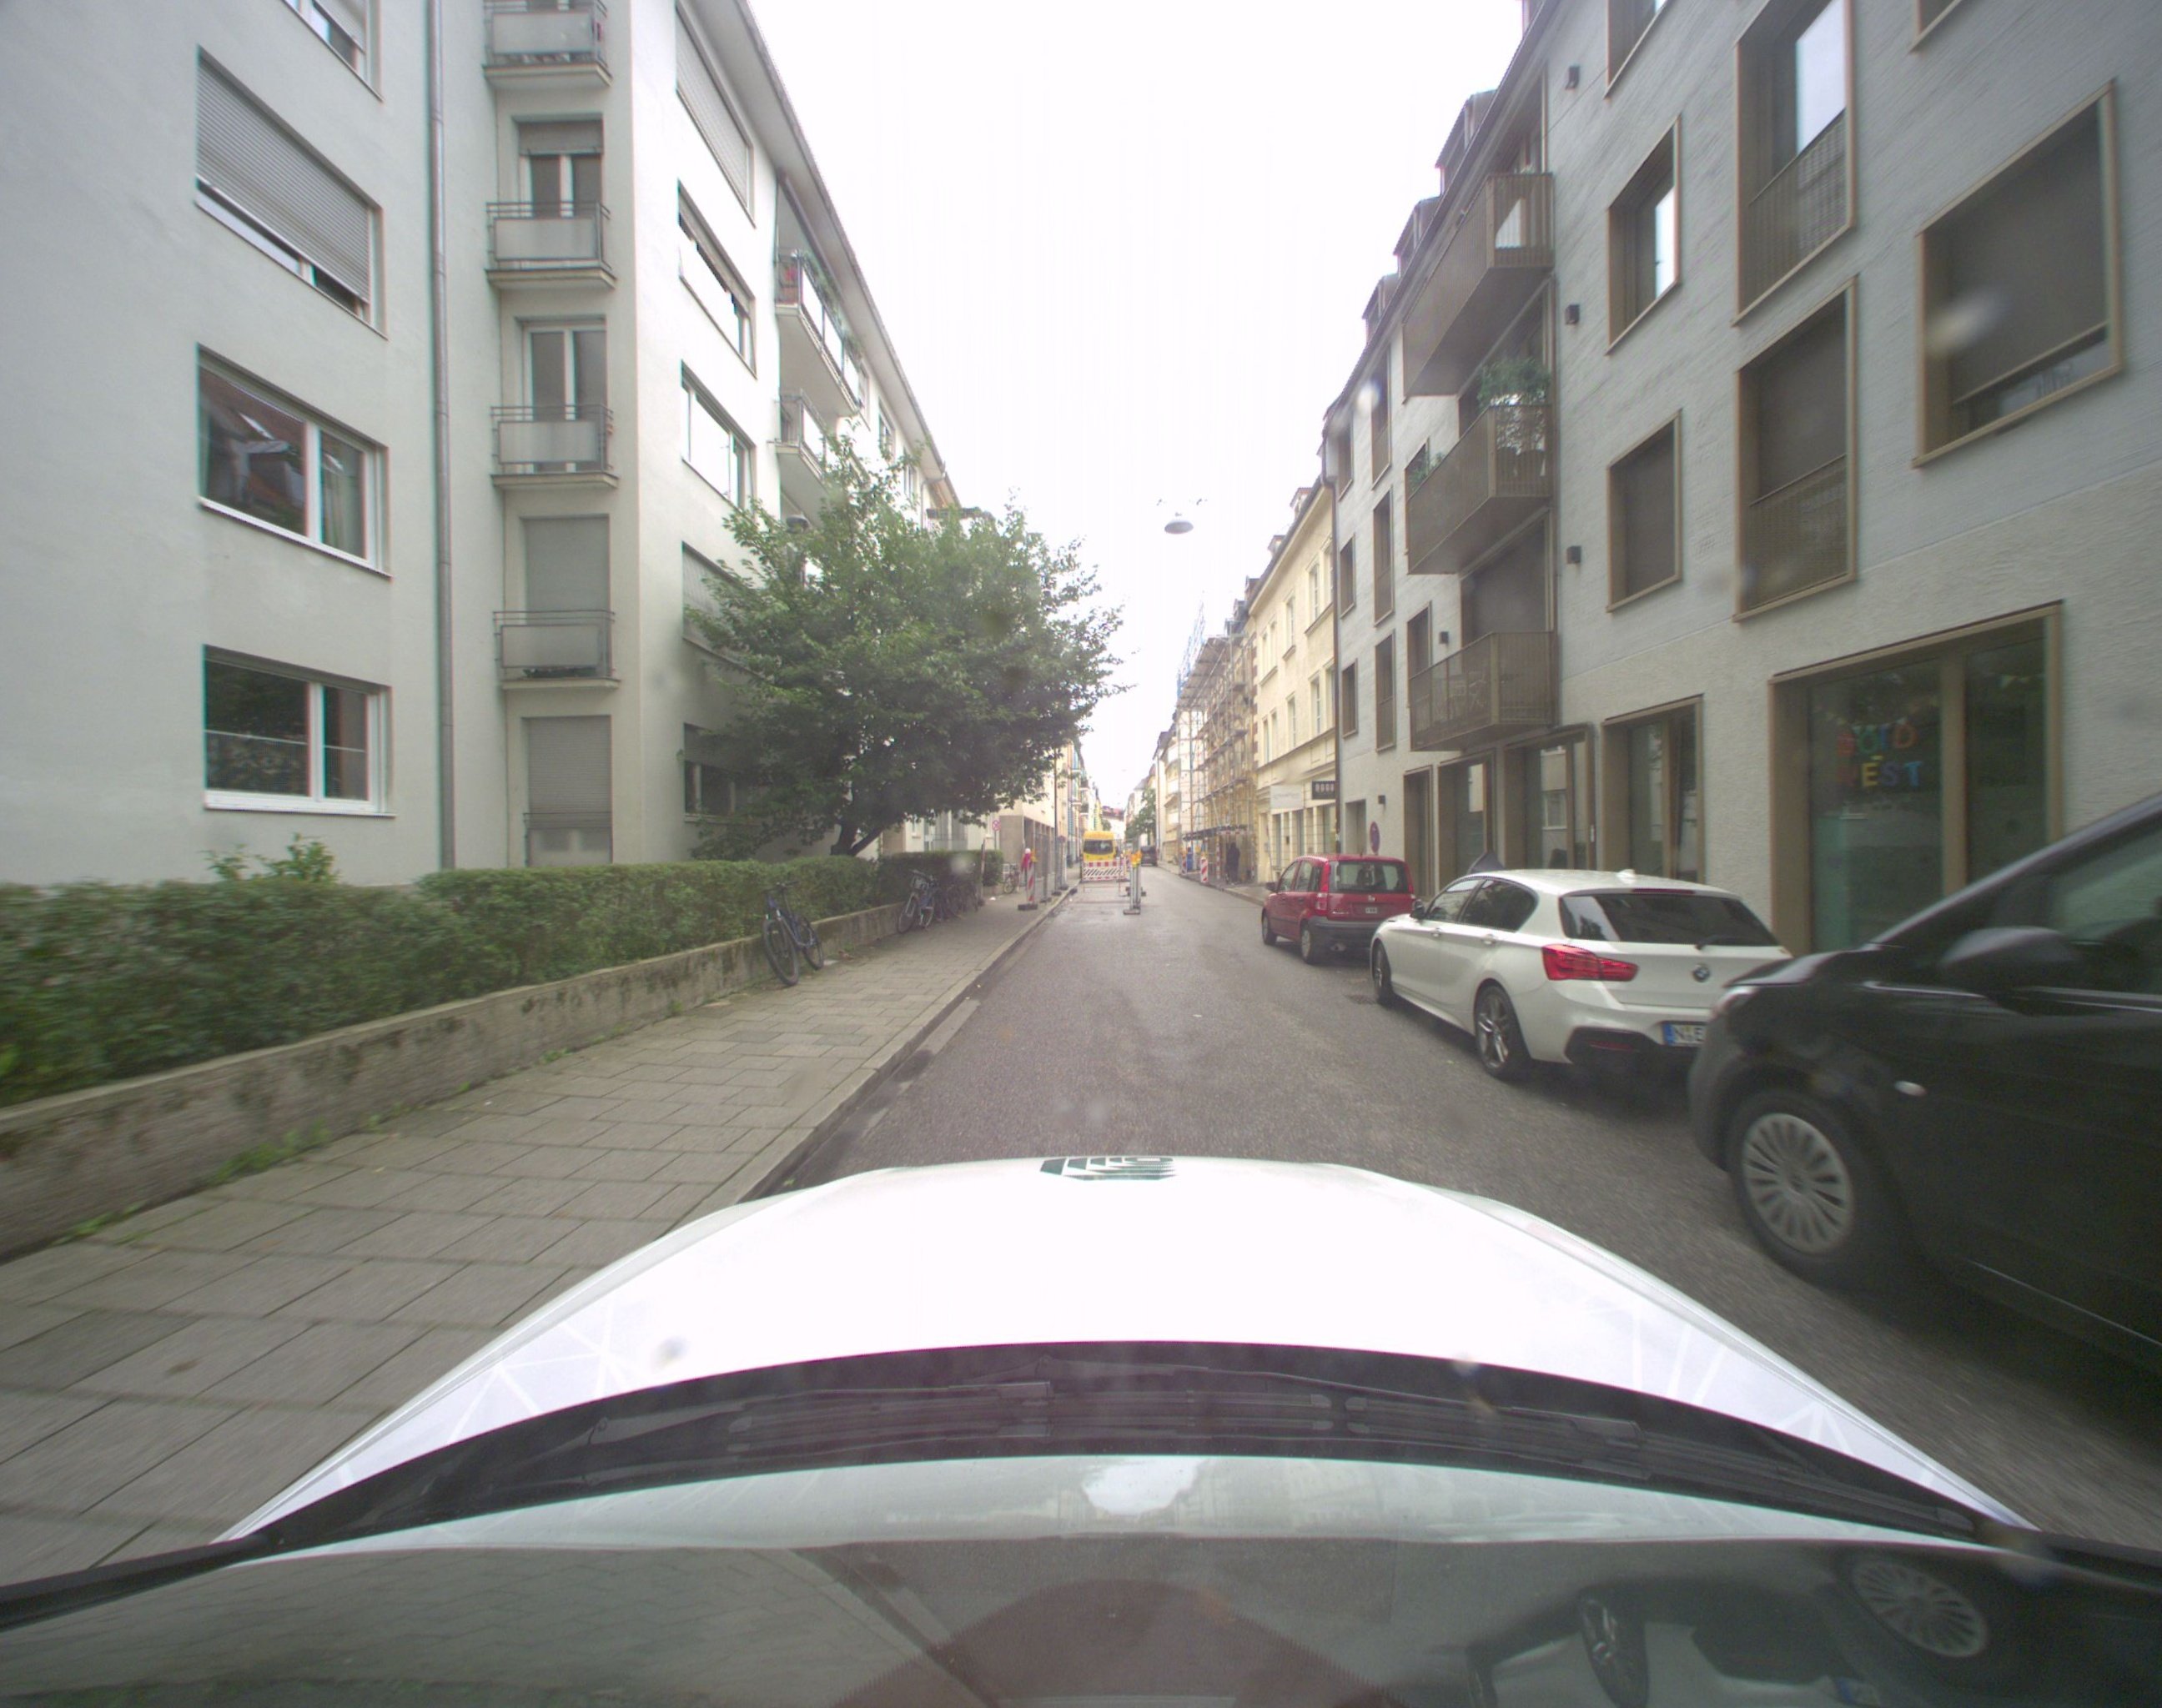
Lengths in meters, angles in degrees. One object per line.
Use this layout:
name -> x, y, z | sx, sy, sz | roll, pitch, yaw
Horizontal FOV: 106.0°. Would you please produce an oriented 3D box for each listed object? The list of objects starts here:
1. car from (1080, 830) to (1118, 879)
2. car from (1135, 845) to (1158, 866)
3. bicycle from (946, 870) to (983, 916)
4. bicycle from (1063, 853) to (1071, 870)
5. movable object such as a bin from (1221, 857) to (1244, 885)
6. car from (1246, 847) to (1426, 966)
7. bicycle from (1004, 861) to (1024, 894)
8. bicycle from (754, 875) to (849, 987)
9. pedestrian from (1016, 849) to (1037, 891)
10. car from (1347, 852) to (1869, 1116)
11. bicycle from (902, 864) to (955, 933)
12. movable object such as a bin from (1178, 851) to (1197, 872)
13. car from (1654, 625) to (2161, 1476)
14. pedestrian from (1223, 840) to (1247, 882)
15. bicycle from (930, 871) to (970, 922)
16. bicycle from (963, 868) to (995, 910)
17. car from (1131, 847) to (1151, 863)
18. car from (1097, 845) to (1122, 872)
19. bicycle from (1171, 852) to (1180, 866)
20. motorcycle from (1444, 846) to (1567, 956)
car -> 1.037, 0.026, 46.890 | 1.986, 2.578, 6.739 | -1, 0, 1
car -> 6.299, 0.154, 78.761 | 1.986, 1.932, 4.661 | 1, 0, 1
bicycle -> -2.653, 0.863, 18.663 | 0.442, 0.978, 1.855 | 2, -1, 3
bicycle -> -1.069, 0.541, 61.862 | 0.380, 1.188, 2.132 | 0, 1, -5
movable object such as a bin -> 6.620, 0.719, 35.577 | 0.727, 1.141, 0.988 | -5, 0, 1
car -> 3.750, 0.672, 12.708 | 1.764, 1.524, 4.071 | 1, 0, 4
bicycle -> -2.340, 0.811, 28.470 | 0.375, 1.063, 1.599 | 5, 0, 3
bicycle -> -3.100, 0.802, 9.182 | 0.345, 1.072, 1.781 | 3, 0, 2
pedestrian -> -2.033, 0.580, 30.344 | 0.635, 1.532, 0.748 | -3, 0, 4
car -> 3.722, 0.732, 6.853 | 1.761, 1.461, 4.384 | 1, 0, 3
bicycle -> -2.708, 0.761, 14.634 | 0.486, 1.151, 1.700 | 2, -1, 3
movable object such as a bin -> 7.378, 0.501, 56.337 | 1.078, 1.346, 1.322 | -4, 0, 14
car -> 3.512, 0.474, 1.125 | 1.984, 1.976, 4.884 | 1, 0, 0
pedestrian -> 6.578, 0.293, 34.864 | 0.727, 1.752, 0.988 | -4, 0, 1
bicycle -> -2.734, 0.863, 17.102 | 0.434, 0.978, 1.700 | 2, -1, 3
bicycle -> -2.557, 0.867, 20.527 | 0.442, 0.978, 1.817 | 2, -1, 3
car -> 6.530, 0.125, 88.710 | 1.887, 1.641, 4.323 | -1, 0, 1
car -> 2.187, 0.291, 61.971 | 1.720, 1.897, 5.511 | -3, 0, 2
bicycle -> 8.309, 0.447, 71.842 | 0.635, 1.153, 1.916 | -4, 1, 3
motorcycle -> 6.053, 0.616, 11.755 | 0.801, 1.423, 1.934 | -2, 0, 3
